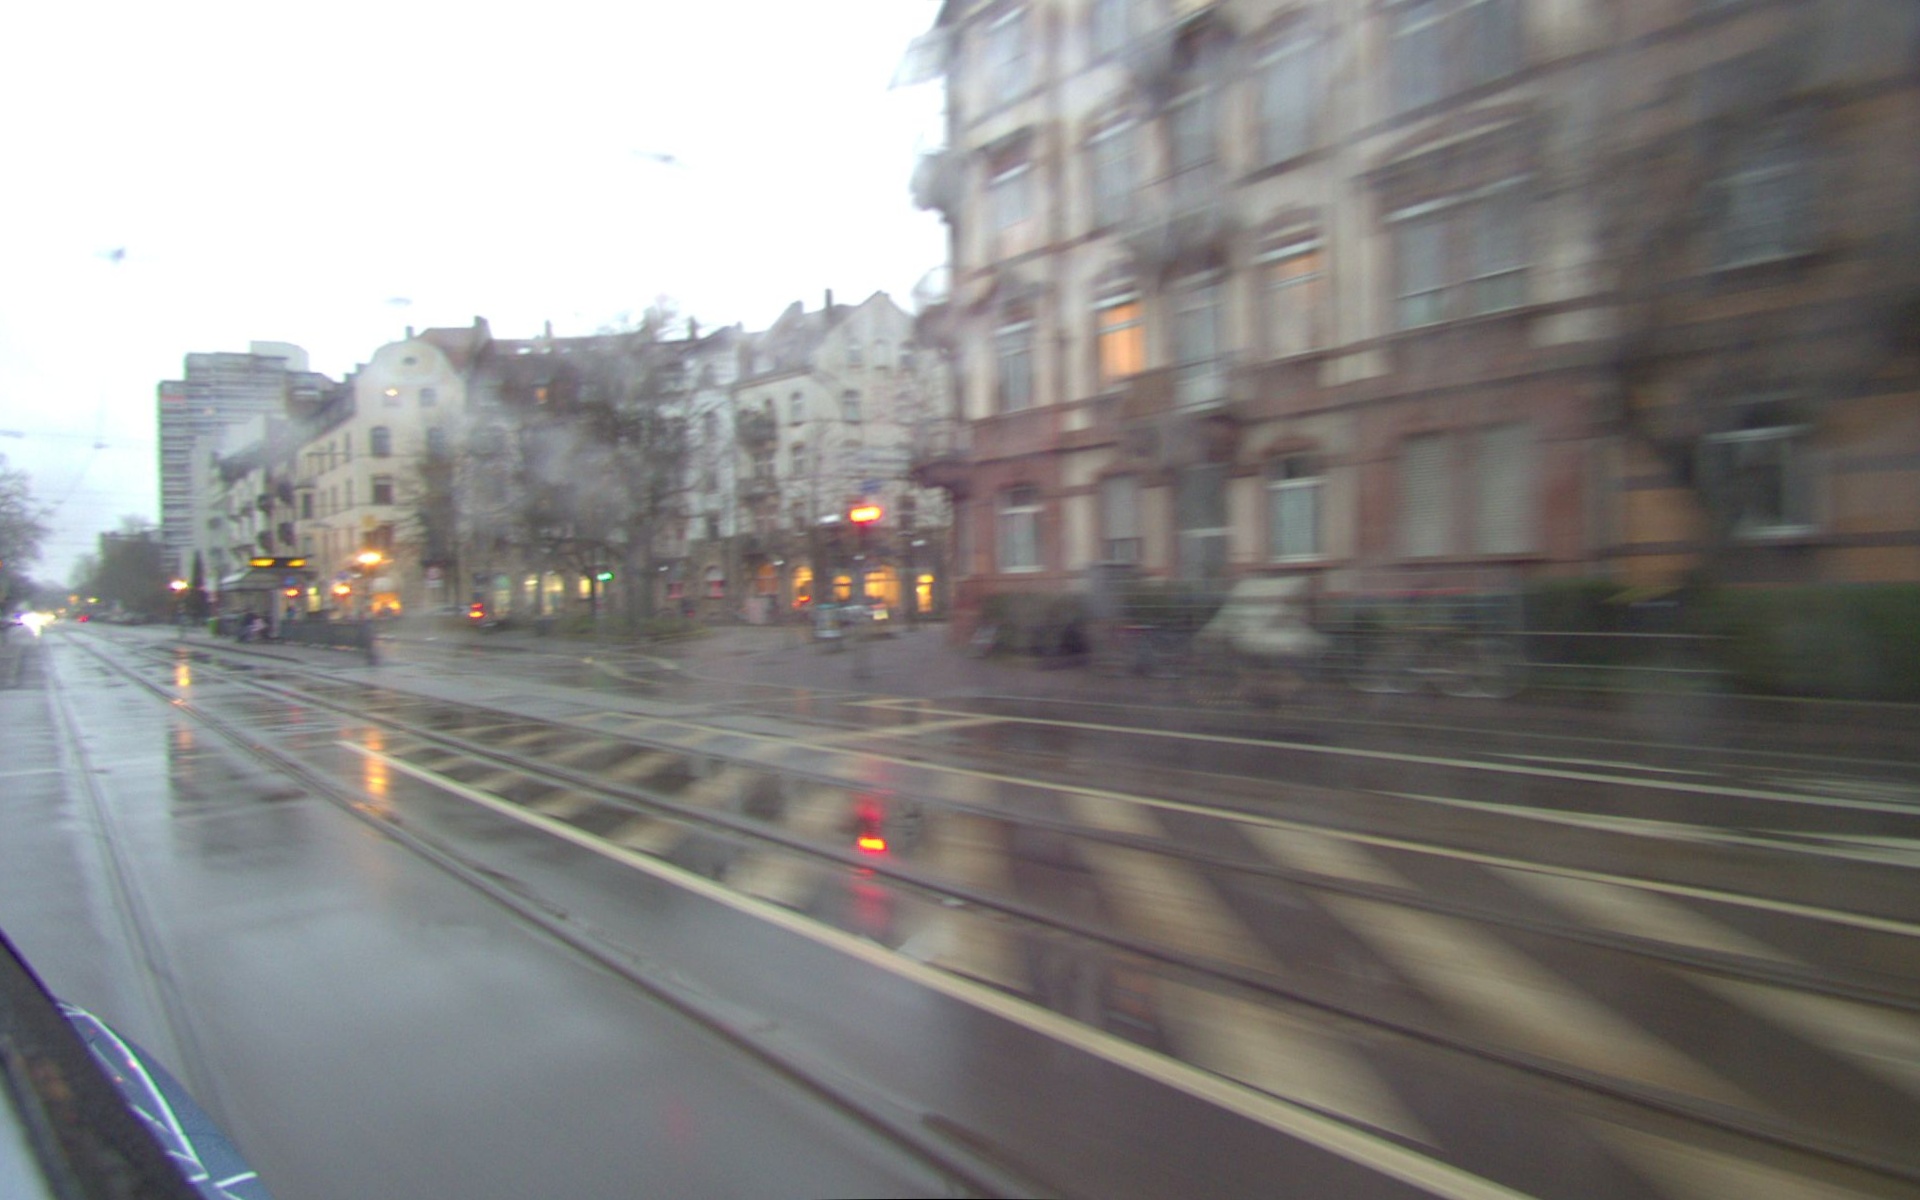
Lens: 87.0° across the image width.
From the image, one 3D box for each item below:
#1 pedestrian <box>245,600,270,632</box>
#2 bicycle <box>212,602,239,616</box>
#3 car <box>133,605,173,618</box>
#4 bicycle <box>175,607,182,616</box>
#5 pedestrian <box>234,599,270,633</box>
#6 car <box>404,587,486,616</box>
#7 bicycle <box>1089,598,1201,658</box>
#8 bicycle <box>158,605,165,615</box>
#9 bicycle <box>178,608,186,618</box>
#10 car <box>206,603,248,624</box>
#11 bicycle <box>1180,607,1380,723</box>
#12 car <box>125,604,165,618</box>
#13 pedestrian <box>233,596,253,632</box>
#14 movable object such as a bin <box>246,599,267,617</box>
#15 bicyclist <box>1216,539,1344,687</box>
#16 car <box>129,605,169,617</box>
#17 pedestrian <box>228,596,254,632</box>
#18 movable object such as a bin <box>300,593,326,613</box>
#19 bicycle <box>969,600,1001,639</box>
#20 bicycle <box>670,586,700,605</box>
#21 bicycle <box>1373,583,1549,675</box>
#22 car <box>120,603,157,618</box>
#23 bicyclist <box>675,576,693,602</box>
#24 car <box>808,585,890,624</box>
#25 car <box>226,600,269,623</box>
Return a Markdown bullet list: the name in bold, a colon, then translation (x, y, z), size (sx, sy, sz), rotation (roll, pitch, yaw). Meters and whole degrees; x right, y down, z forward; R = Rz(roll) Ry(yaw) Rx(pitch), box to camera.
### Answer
- **pedestrian**: translation (-28.168, 0.648, 40.580), size (0.645, 1.227, 0.517), rotation (-7, 4, -43)
- **bicycle**: translation (-70.204, 0.818, 96.707), size (1.962, 1.167, 0.531), rotation (-7, 5, -44)
- **car**: translation (-100.728, 1.398, 126.319), size (3.785, 1.424, 1.729), rotation (-4, 2, -42)
- **bicycle**: translation (-79.443, 1.165, 102.904), size (0.523, 0.896, 2.213), rotation (-2, 1, -38)
- **pedestrian**: translation (-28.679, 0.626, 41.016), size (1.044, 1.263, 0.507), rotation (-7, 4, -43)
- **car**: translation (-31.503, 0.099, 62.070), size (4.269, 1.595, 1.943), rotation (-2, 0, -20)
- **bicycle**: translation (2.874, 0.419, 15.869), size (0.395, 0.868, 1.851), rotation (-3, 2, -41)
- **bicycle**: translation (-89.503, 1.109, 113.398), size (0.429, 1.014, 1.884), rotation (-7, 4, -41)
- **bicycle**: translation (-76.281, 1.256, 99.258), size (0.523, 0.946, 2.090), rotation (-6, 4, -38)
- **car**: translation (-57.125, 1.035, 78.821), size (4.510, 1.400, 1.783), rotation (-1, 5, 44)
- **bicycle**: translation (3.158, 0.598, 10.130), size (0.673, 1.014, 1.805), rotation (-3, 2, -42)
- **car**: translation (-104.720, 1.384, 130.101), size (3.786, 1.423, 1.729), rotation (-7, 5, -42)
- **pedestrian**: translation (-29.454, 0.561, 41.572), size (0.467, 1.413, 0.454), rotation (-7, 4, -43)
- **movable object such as a bin**: translation (-59.328, 0.690, 85.375), size (1.222, 1.441, 1.075), rotation (-7, 4, -44)
- **bicyclist**: translation (3.177, 0.111, 10.071), size (0.696, 1.374, 0.945), rotation (-5, 4, -42)
- **car**: translation (-102.676, 1.412, 128.163), size (3.784, 1.424, 1.729), rotation (-3, 1, -42)
- **pedestrian**: translation (-29.787, 0.561, 41.937), size (0.676, 1.413, 0.579), rotation (-7, 4, -43)
- **movable object such as a bin**: translation (-49.713, 0.210, 77.744), size (1.334, 1.382, 1.282), rotation (-7, 4, -44)
- **bicycle**: translation (0.521, 0.403, 21.876), size (0.394, 0.764, 1.814), rotation (-2, 2, -7)
- **bicycle**: translation (-15.110, -0.237, 55.591), size (1.806, 1.014, 0.486), rotation (-1, 2, 34)
- **bicycle**: translation (5.963, 0.327, 12.139), size (0.411, 1.014, 1.851), rotation (-3, 2, -41)
- **car**: translation (-115.805, 1.473, 142.645), size (3.786, 1.729, 1.729), rotation (-7, 4, -42)
- **bicyclist**: translation (-15.186, -0.589, 55.618), size (0.763, 1.374, 0.525), rotation (-1, 3, 34)
- **car**: translation (-5.499, 0.222, 50.644), size (3.811, 1.785, 1.878), rotation (-2, 0, 3)
- **car**: translation (-53.023, 0.879, 75.313), size (3.677, 1.527, 1.655), rotation (-1, 4, 41)
